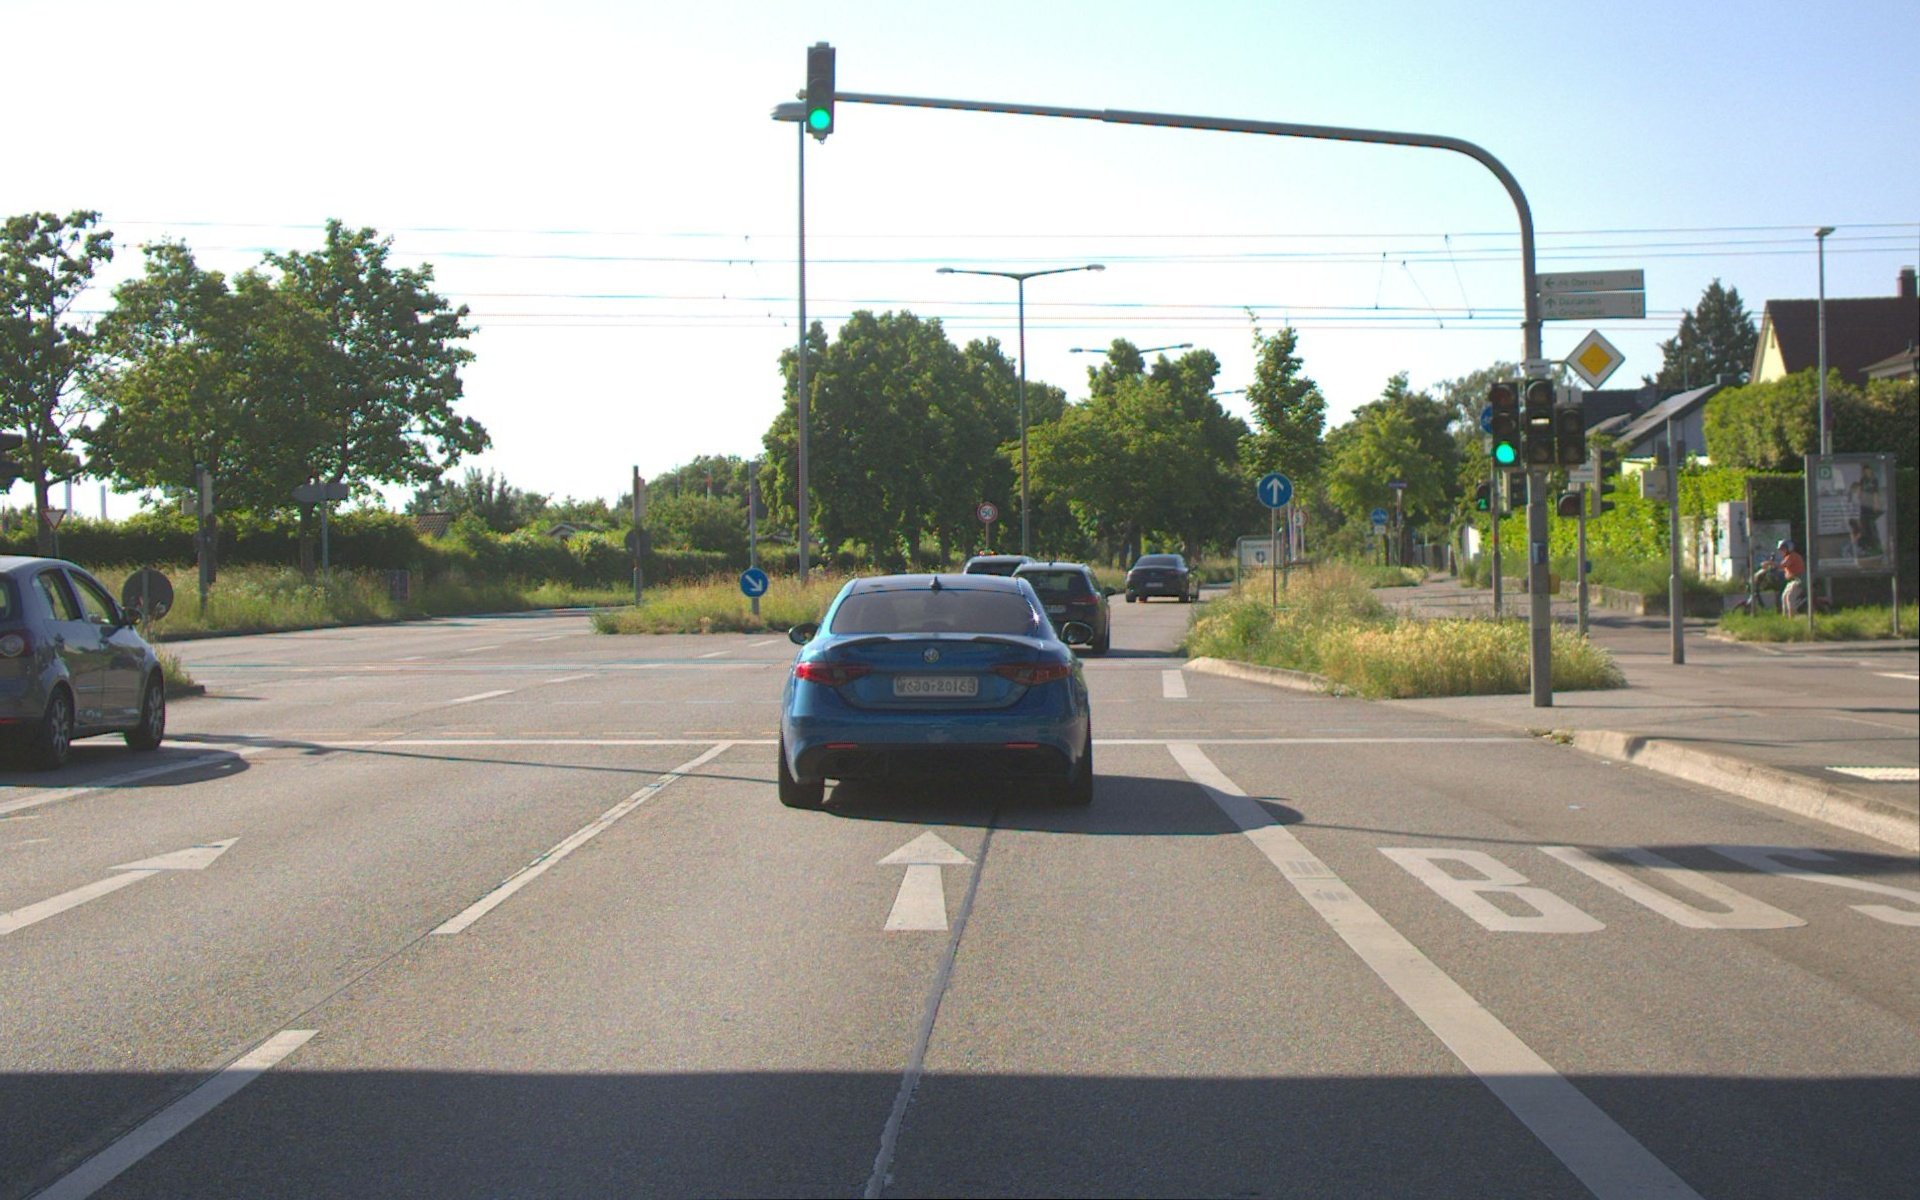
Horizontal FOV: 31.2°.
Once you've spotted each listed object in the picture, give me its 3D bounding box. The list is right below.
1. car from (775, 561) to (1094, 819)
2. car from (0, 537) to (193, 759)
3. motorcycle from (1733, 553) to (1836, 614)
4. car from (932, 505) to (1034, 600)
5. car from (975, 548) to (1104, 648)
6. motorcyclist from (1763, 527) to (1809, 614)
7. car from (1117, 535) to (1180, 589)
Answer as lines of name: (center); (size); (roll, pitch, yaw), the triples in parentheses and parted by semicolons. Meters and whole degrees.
car: (-0.129, 0.499, 21.960); (1.838, 1.469, 4.184); (0, 1, 1)
car: (-7.400, 0.341, 26.482); (1.842, 1.565, 4.386); (0, 0, 2)
motorcycle: (14.853, -0.301, 61.952); (1.756, 1.067, 0.451); (-1, 0, 7)
car: (0.530, -1.021, 75.023); (1.793, 2.007, 3.999); (0, 0, 6)
car: (1.335, -0.059, 56.192); (1.915, 1.574, 4.182); (0, 1, 4)
motorcyclist: (14.894, -0.529, 61.997); (0.693, 1.552, 0.699); (-1, 0, 7)
car: (5.676, -1.130, 103.194); (1.661, 1.574, 3.808); (0, 1, 7)
